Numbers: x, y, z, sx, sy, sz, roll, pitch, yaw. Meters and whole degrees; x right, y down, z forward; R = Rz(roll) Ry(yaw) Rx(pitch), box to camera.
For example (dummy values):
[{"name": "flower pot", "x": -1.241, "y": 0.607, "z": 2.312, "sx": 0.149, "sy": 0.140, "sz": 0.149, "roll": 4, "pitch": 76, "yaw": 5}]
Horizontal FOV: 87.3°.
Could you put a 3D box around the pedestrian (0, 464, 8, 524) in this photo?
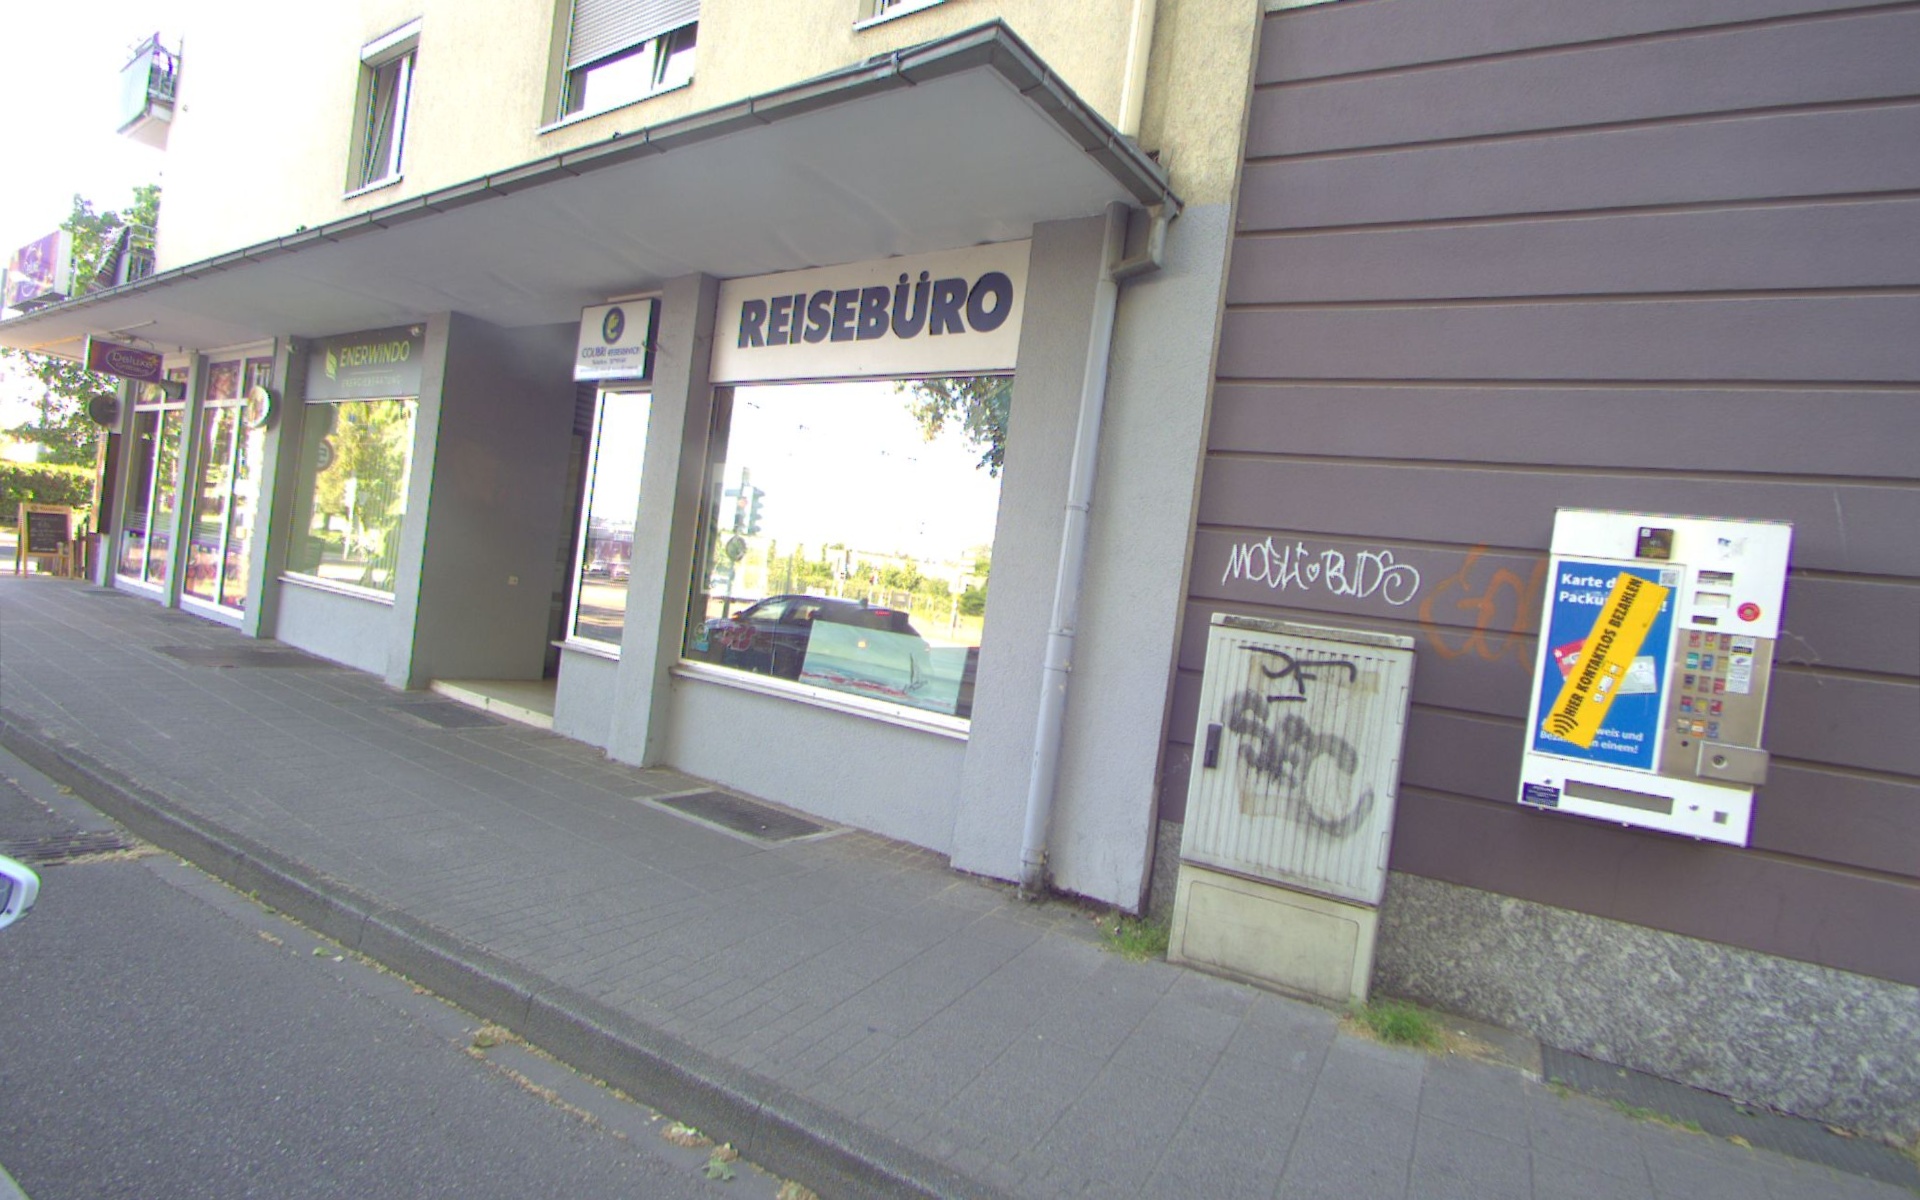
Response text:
[{"name": "pedestrian", "x": -18.964, "y": -1.744, "z": 19.396, "sx": 0.630, "sy": 1.841, "sz": 0.738, "roll": 8, "pitch": -1, "yaw": -38}]
